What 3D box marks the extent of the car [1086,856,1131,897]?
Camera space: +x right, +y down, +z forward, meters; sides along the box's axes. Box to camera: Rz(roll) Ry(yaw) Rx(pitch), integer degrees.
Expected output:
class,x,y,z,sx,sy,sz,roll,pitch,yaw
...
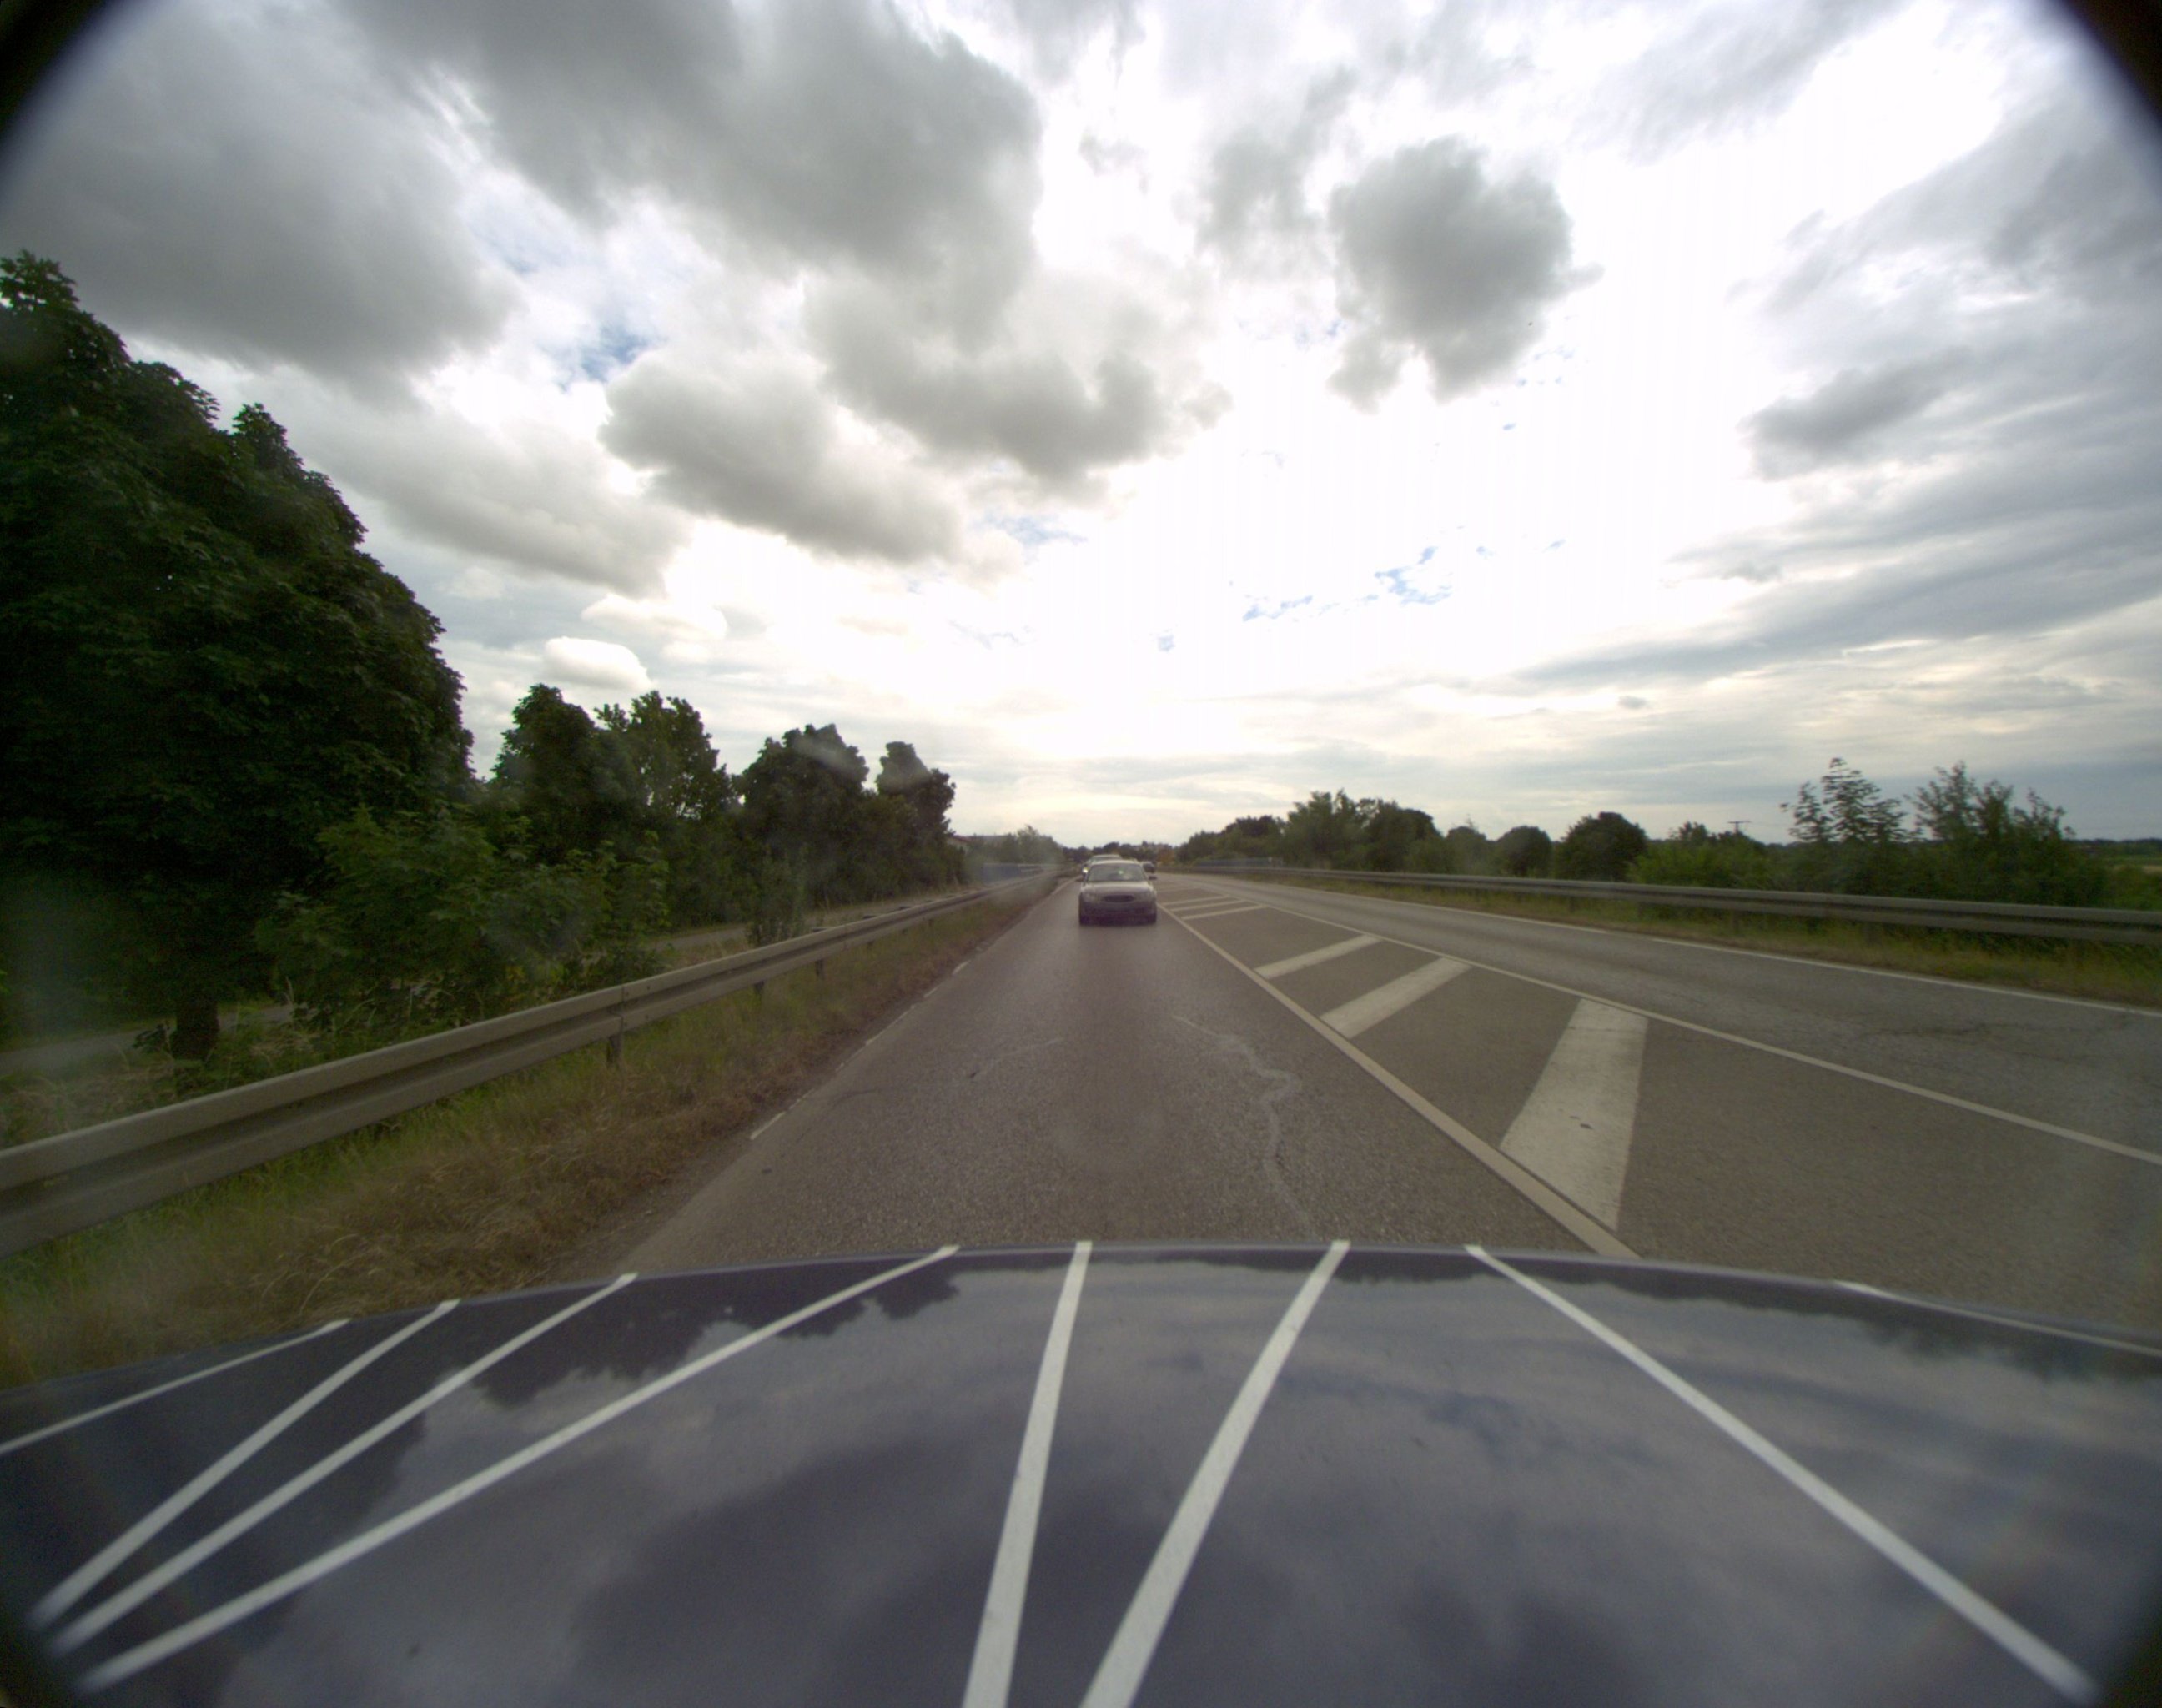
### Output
class,x,y,z,sx,sy,sz,roll,pitch,yaw
car,1.094,0.892,31.572,1.684,1.521,4.000,-2,0,1

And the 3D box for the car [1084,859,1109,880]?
class,x,y,z,sx,sy,sz,roll,pitch,yaw
car,1.062,1.034,53.167,1.670,1.339,4.000,-2,0,1

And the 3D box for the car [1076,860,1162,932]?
class,x,y,z,sx,sy,sz,roll,pitch,yaw
car,0.824,0.899,17.890,1.768,1.383,3.876,-2,1,1

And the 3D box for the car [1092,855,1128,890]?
class,x,y,z,sx,sy,sz,roll,pitch,yaw
car,1.385,0.833,36.317,1.602,1.494,3.962,-2,0,2

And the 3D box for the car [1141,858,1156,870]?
class,x,y,z,sx,sy,sz,roll,pitch,yaw
car,8.597,1.236,96.848,1.626,1.371,4.512,-1,0,1
